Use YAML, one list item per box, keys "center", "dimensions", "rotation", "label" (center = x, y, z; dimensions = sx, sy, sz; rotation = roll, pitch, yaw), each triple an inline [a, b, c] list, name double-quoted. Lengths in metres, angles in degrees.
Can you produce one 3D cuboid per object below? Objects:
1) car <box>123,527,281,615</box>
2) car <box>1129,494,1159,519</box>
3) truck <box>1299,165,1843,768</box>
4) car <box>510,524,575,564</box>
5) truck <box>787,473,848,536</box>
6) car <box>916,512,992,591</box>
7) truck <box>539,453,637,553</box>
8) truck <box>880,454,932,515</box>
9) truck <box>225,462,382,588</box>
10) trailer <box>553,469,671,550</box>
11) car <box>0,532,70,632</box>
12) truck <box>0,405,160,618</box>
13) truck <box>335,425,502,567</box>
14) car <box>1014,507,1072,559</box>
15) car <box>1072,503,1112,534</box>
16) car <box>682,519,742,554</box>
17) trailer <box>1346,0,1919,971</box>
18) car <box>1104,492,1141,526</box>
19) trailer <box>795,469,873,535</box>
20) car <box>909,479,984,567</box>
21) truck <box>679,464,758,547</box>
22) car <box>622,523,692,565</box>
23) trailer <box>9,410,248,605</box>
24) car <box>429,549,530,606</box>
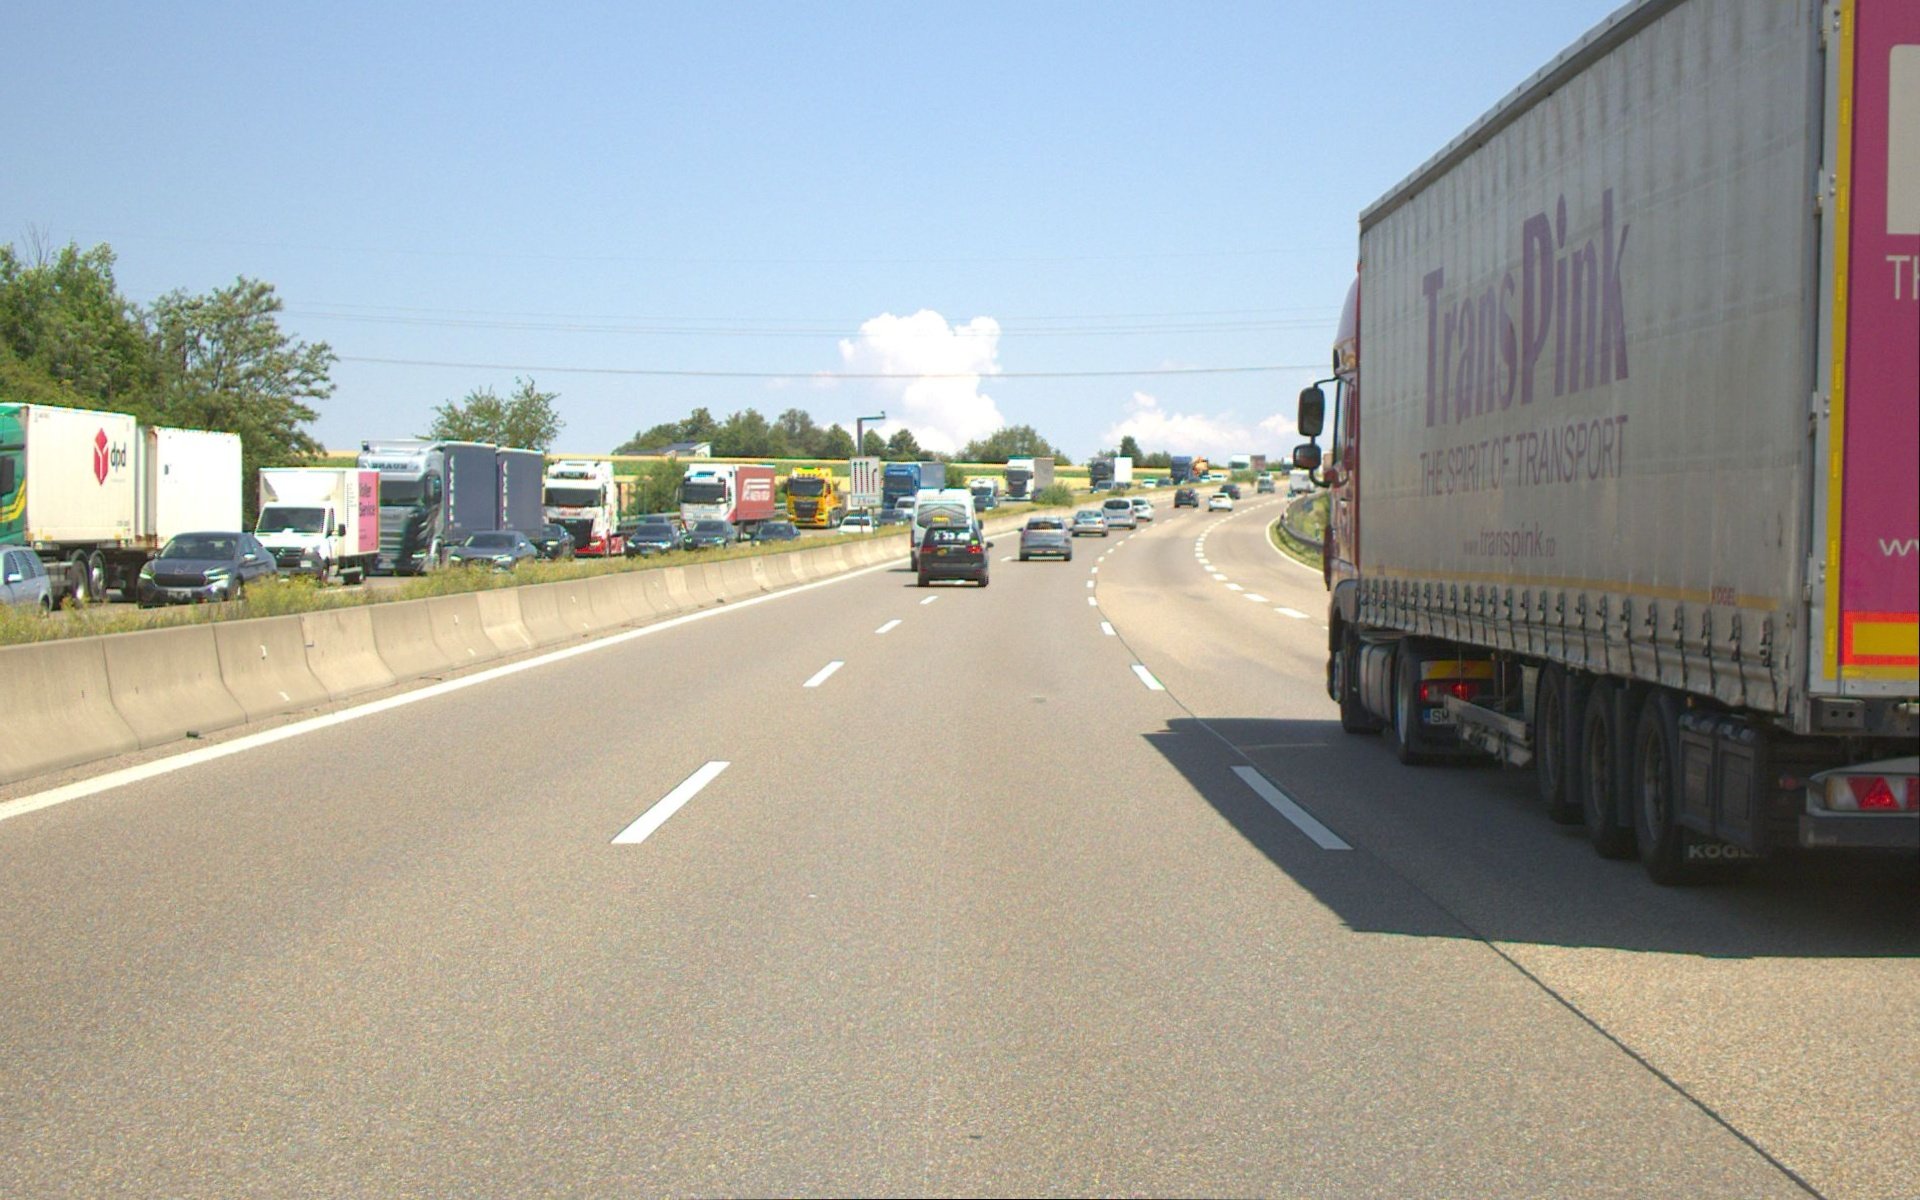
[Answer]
- center: [-14.571, -0.528, 66.354]
  dimensions: [1.861, 1.636, 5.113]
  rotation: [0, 0, 1]
  label: "car"
- center: [12.483, -6.320, 233.152]
  dimensions: [1.994, 1.546, 4.000]
  rotation: [2, 3, 4]
  label: "car"
- center: [4.407, -0.954, 26.266]
  dimensions: [2.916, 3.995, 6.511]
  rotation: [1, 1, 0]
  label: "truck"
- center: [-15.438, -2.073, 127.326]
  dimensions: [1.656, 1.426, 4.648]
  rotation: [0, 1, 3]
  label: "car"
- center: [-8.966, -6.063, 216.958]
  dimensions: [2.751, 3.824, 7.097]
  rotation: [1, 2, 6]
  label: "truck"
- center: [-0.133, -1.280, 88.660]
  dimensions: [1.847, 1.854, 4.206]
  rotation: [0, 3, 1]
  label: "car"
- center: [-14.842, -3.891, 137.691]
  dimensions: [2.901, 3.863, 6.178]
  rotation: [1, 2, 3]
  label: "truck"
- center: [-4.072, -8.807, 260.672]
  dimensions: [2.783, 4.320, 10.649]
  rotation: [2, 3, 5]
  label: "truck"
- center: [-17.515, -2.035, 92.200]
  dimensions: [2.538, 3.196, 7.589]
  rotation: [0, 2, 2]
  label: "truck"
- center: [-14.479, -3.825, 144.075]
  dimensions: [2.858, 3.195, 12.783]
  rotation: [1, 2, 3]
  label: "trailer"
- center: [-14.766, -0.263, 51.190]
  dimensions: [1.751, 1.455, 4.858]
  rotation: [1, 0, 0]
  label: "car"
- center: [-18.703, -1.733, 67.830]
  dimensions: [2.843, 3.885, 11.247]
  rotation: [-1, 1, 2]
  label: "truck"
- center: [-16.828, -3.246, 107.670]
  dimensions: [3.001, 4.219, 10.733]
  rotation: [0, 2, 3]
  label: "truck"
- center: [3.037, -2.434, 125.449]
  dimensions: [1.994, 1.744, 3.999]
  rotation: [1, 0, 3]
  label: "car"
- center: [6.941, -4.297, 181.540]
  dimensions: [1.993, 1.579, 4.000]
  rotation: [0, 1, 1]
  label: "car"
- center: [-10.586, -2.724, 147.011]
  dimensions: [1.994, 1.450, 5.170]
  rotation: [0, 1, 2]
  label: "car"
- center: [4.417, -0.857, 19.063]
  dimensions: [2.918, 4.103, 13.859]
  rotation: [1, 1, 0]
  label: "trailer"
- center: [9.585, -5.361, 202.848]
  dimensions: [1.993, 1.897, 4.000]
  rotation: [0, 0, 0]
  label: "car"
- center: [-8.156, -6.448, 224.038]
  dimensions: [2.953, 4.086, 14.379]
  rotation: [1, 2, 6]
  label: "trailer"
- center: [-0.398, -2.390, 108.429]
  dimensions: [2.180, 2.616, 4.672]
  rotation: [1, 0, 1]
  label: "car"
- center: [-12.265, -4.834, 175.200]
  dimensions: [3.036, 4.067, 6.314]
  rotation: [1, 2, 5]
  label: "truck"
- center: [-11.355, -2.125, 129.198]
  dimensions: [1.994, 1.522, 4.772]
  rotation: [1, 1, 2]
  label: "car"
- center: [-18.366, -2.056, 76.547]
  dimensions: [2.920, 4.058, 8.230]
  rotation: [-1, 1, 3]
  label: "trailer"
- center: [-13.734, -0.677, 98.540]
  dimensions: [1.993, 1.540, 5.494]
  rotation: [0, 1, 1]
  label: "car"
